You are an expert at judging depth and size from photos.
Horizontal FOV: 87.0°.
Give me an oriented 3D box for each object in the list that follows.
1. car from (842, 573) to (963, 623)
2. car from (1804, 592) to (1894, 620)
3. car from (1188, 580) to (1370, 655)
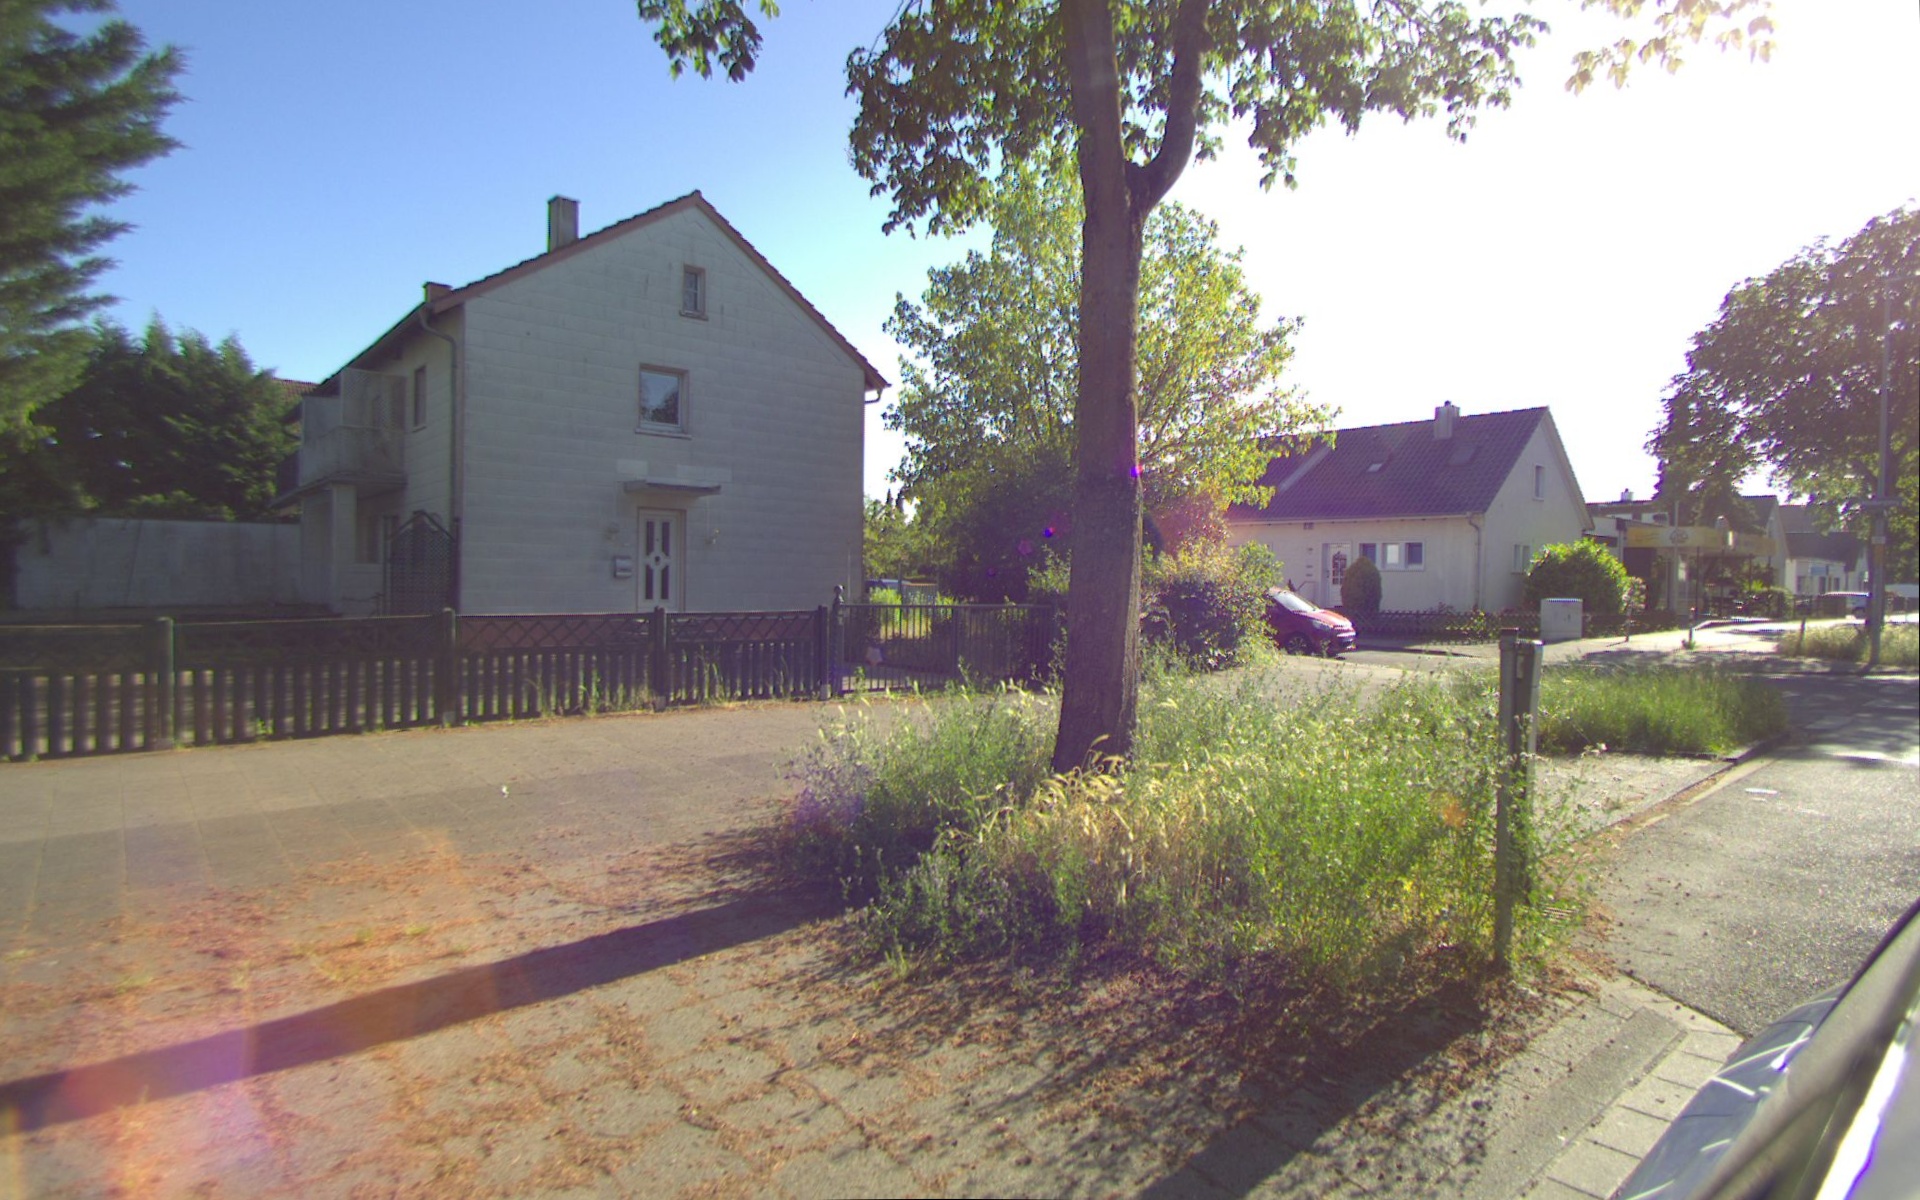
[{"bbox_3d":[-1.961,-0.087,33.461,1.854,1.529,4.310,1,1,-38],"label":"car"},{"bbox_3d":[49.912,0.368,56.871,1.667,1.458,3.614,0,-2,-43],"label":"car"},{"bbox_3d":[7.066,0.351,22.597,1.613,1.530,3.543,2,-1,-44],"label":"car"}]
